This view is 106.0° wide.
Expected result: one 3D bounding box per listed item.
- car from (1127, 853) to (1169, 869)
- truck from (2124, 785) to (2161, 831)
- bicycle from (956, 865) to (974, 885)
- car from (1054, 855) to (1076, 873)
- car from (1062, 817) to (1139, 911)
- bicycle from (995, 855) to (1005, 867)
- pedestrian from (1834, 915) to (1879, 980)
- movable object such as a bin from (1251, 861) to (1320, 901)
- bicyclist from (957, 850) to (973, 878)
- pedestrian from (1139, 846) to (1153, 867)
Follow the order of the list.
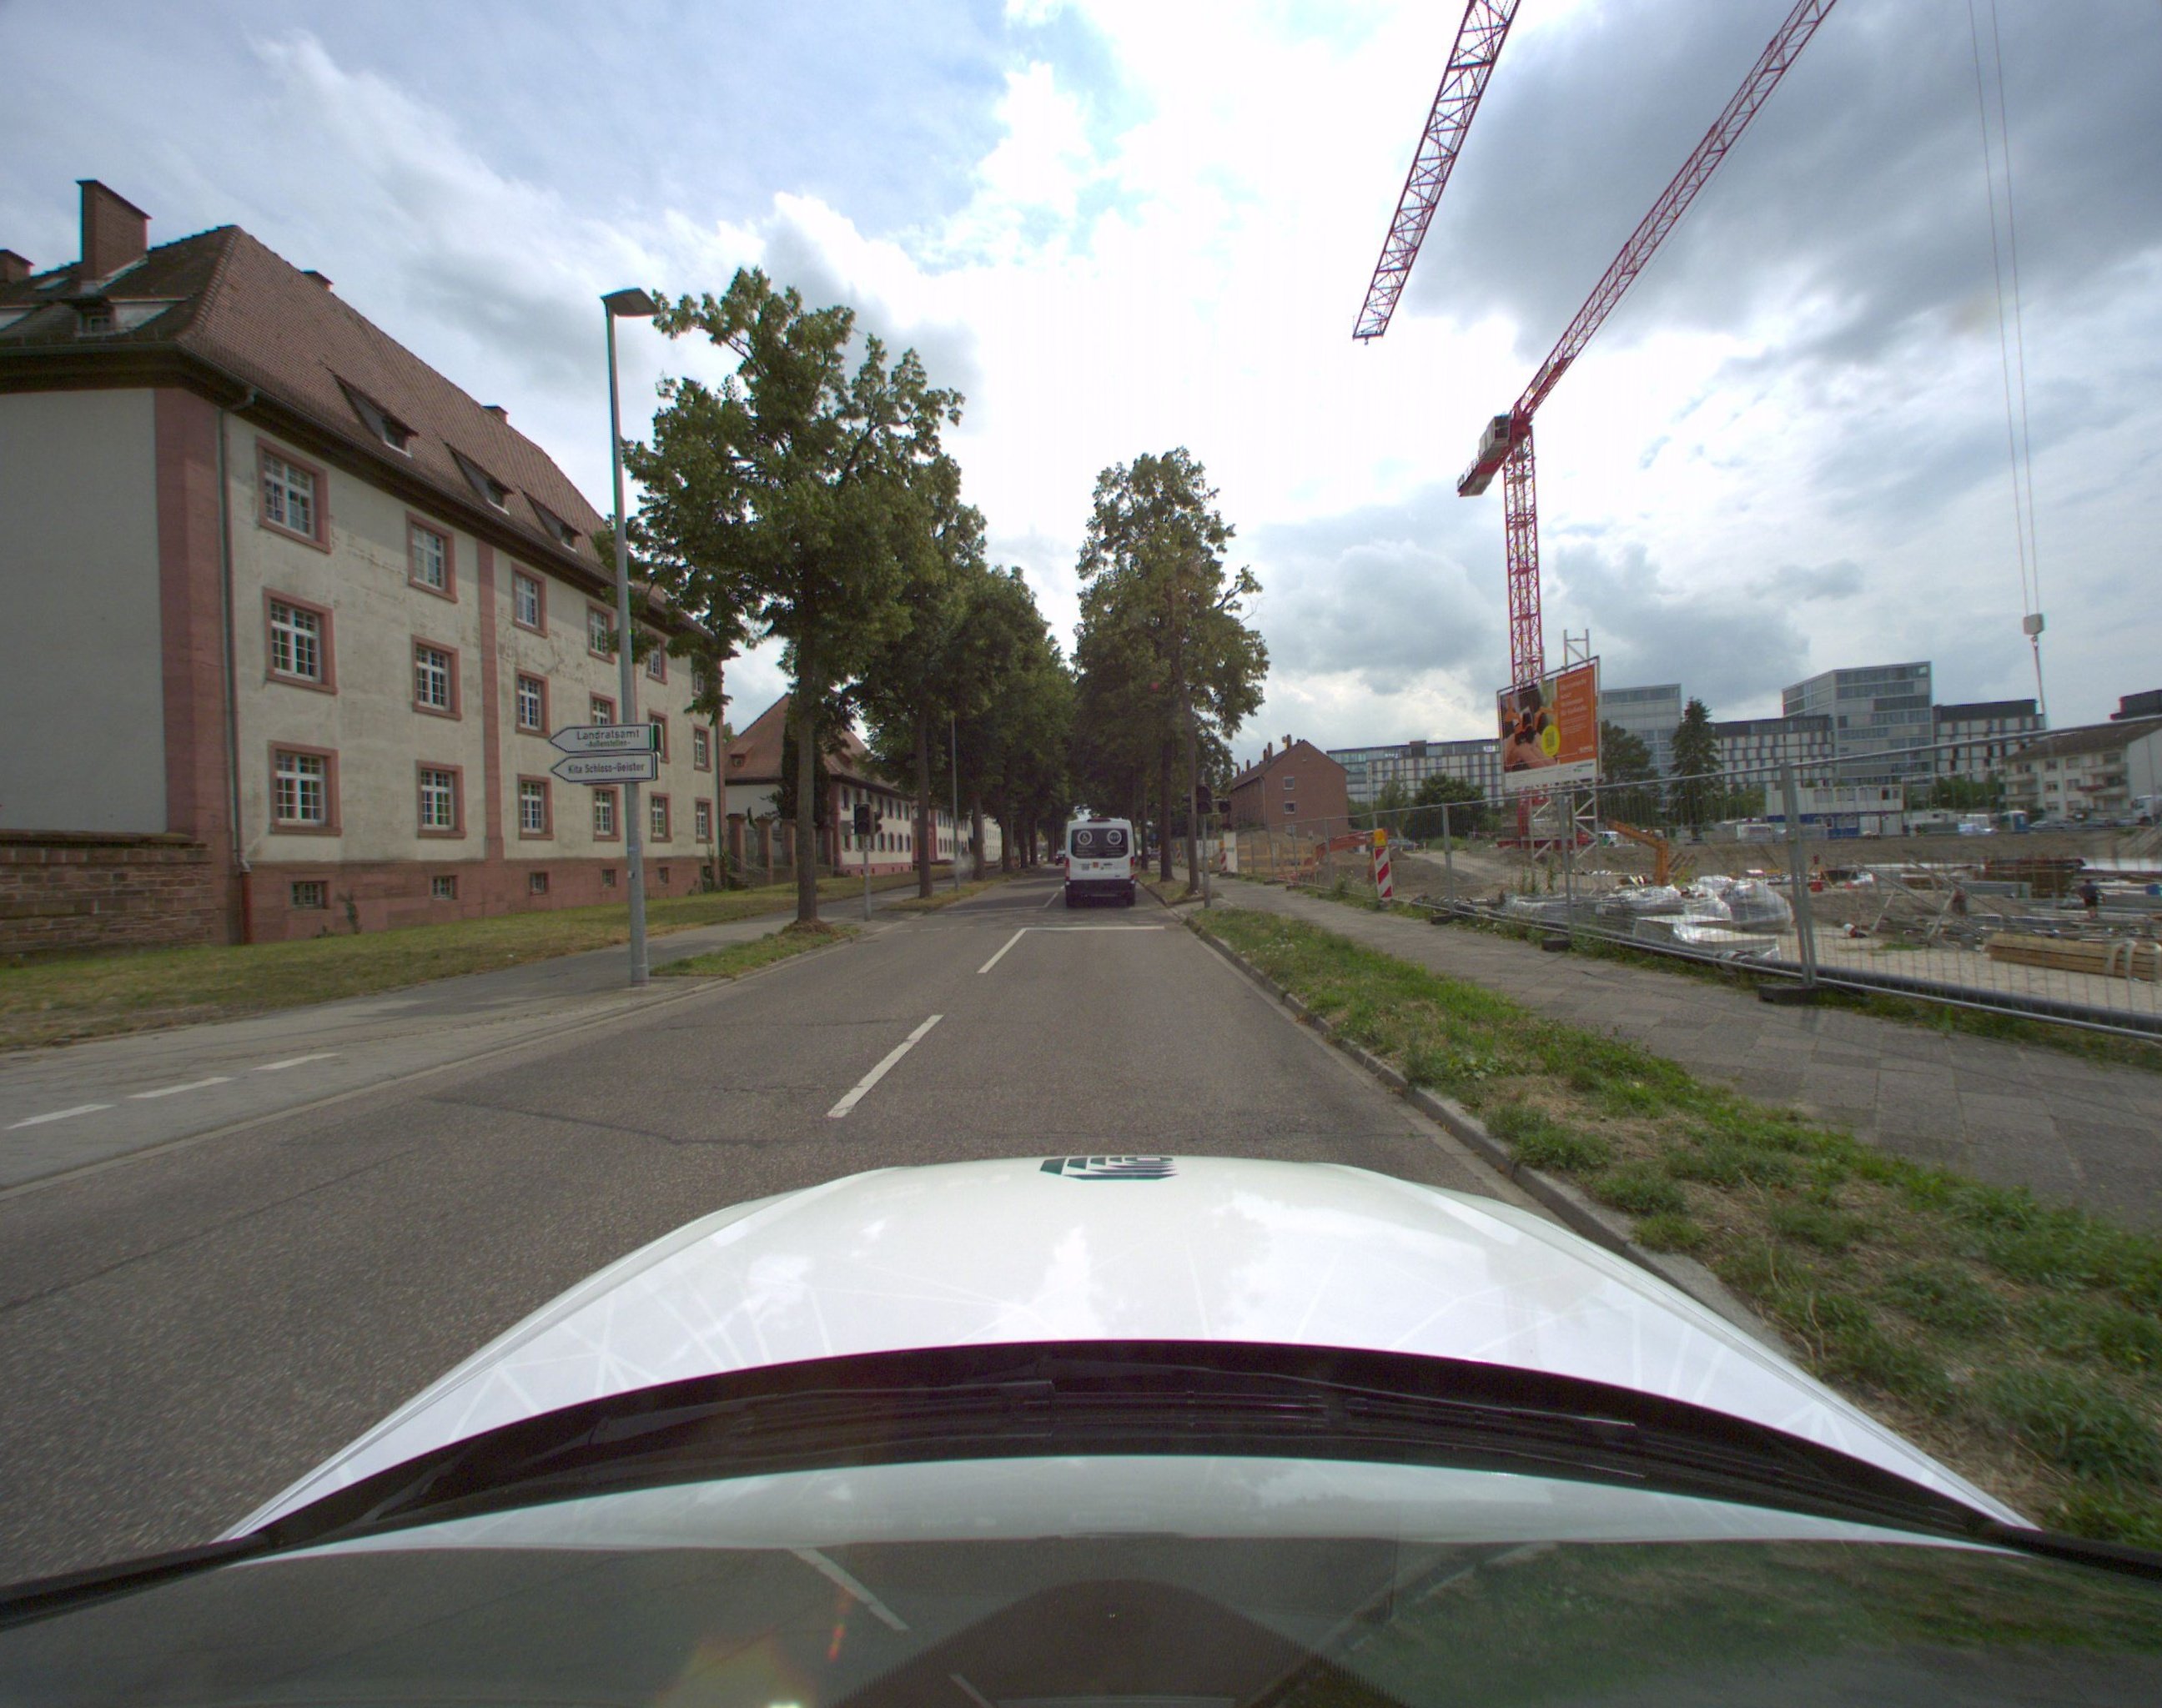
[{"bbox_3d":[7.073,0.720,86.765,4.354,1.443,2.012,-3,-2,2],"label":"car"},{"bbox_3d":[99.028,-4.288,71.402,3.318,4.133,10.302,-4,-1,12],"label":"truck"},{"bbox_3d":[-6.857,1.242,48.162,0.720,1.095,2.151,2,0,1],"label":"bicycle"},{"bbox_3d":[-1.563,0.956,80.888,1.764,1.659,4.260,-4,0,3],"label":"car"},{"bbox_3d":[0.481,0.294,24.397,2.057,2.540,3.997,-1,-1,-2],"label":"car"},{"bbox_3d":[-7.875,0.703,79.384,0.720,1.095,2.225,2,0,1],"label":"bicycle"},{"bbox_3d":[21.939,2.630,23.055,0.711,1.722,0.850,-4,-1,35],"label":"pedestrian"},{"bbox_3d":[15.127,1.998,60.273,4.648,2.589,3.145,-4,-1,15],"label":"movable object such as a bin"},{"bbox_3d":[-6.842,0.579,48.192,0.720,1.656,0.958,2,0,1],"label":"bicyclist"},{"bbox_3d":[5.866,0.247,73.569,0.875,1.814,0.893,-4,-1,20],"label":"pedestrian"}]
